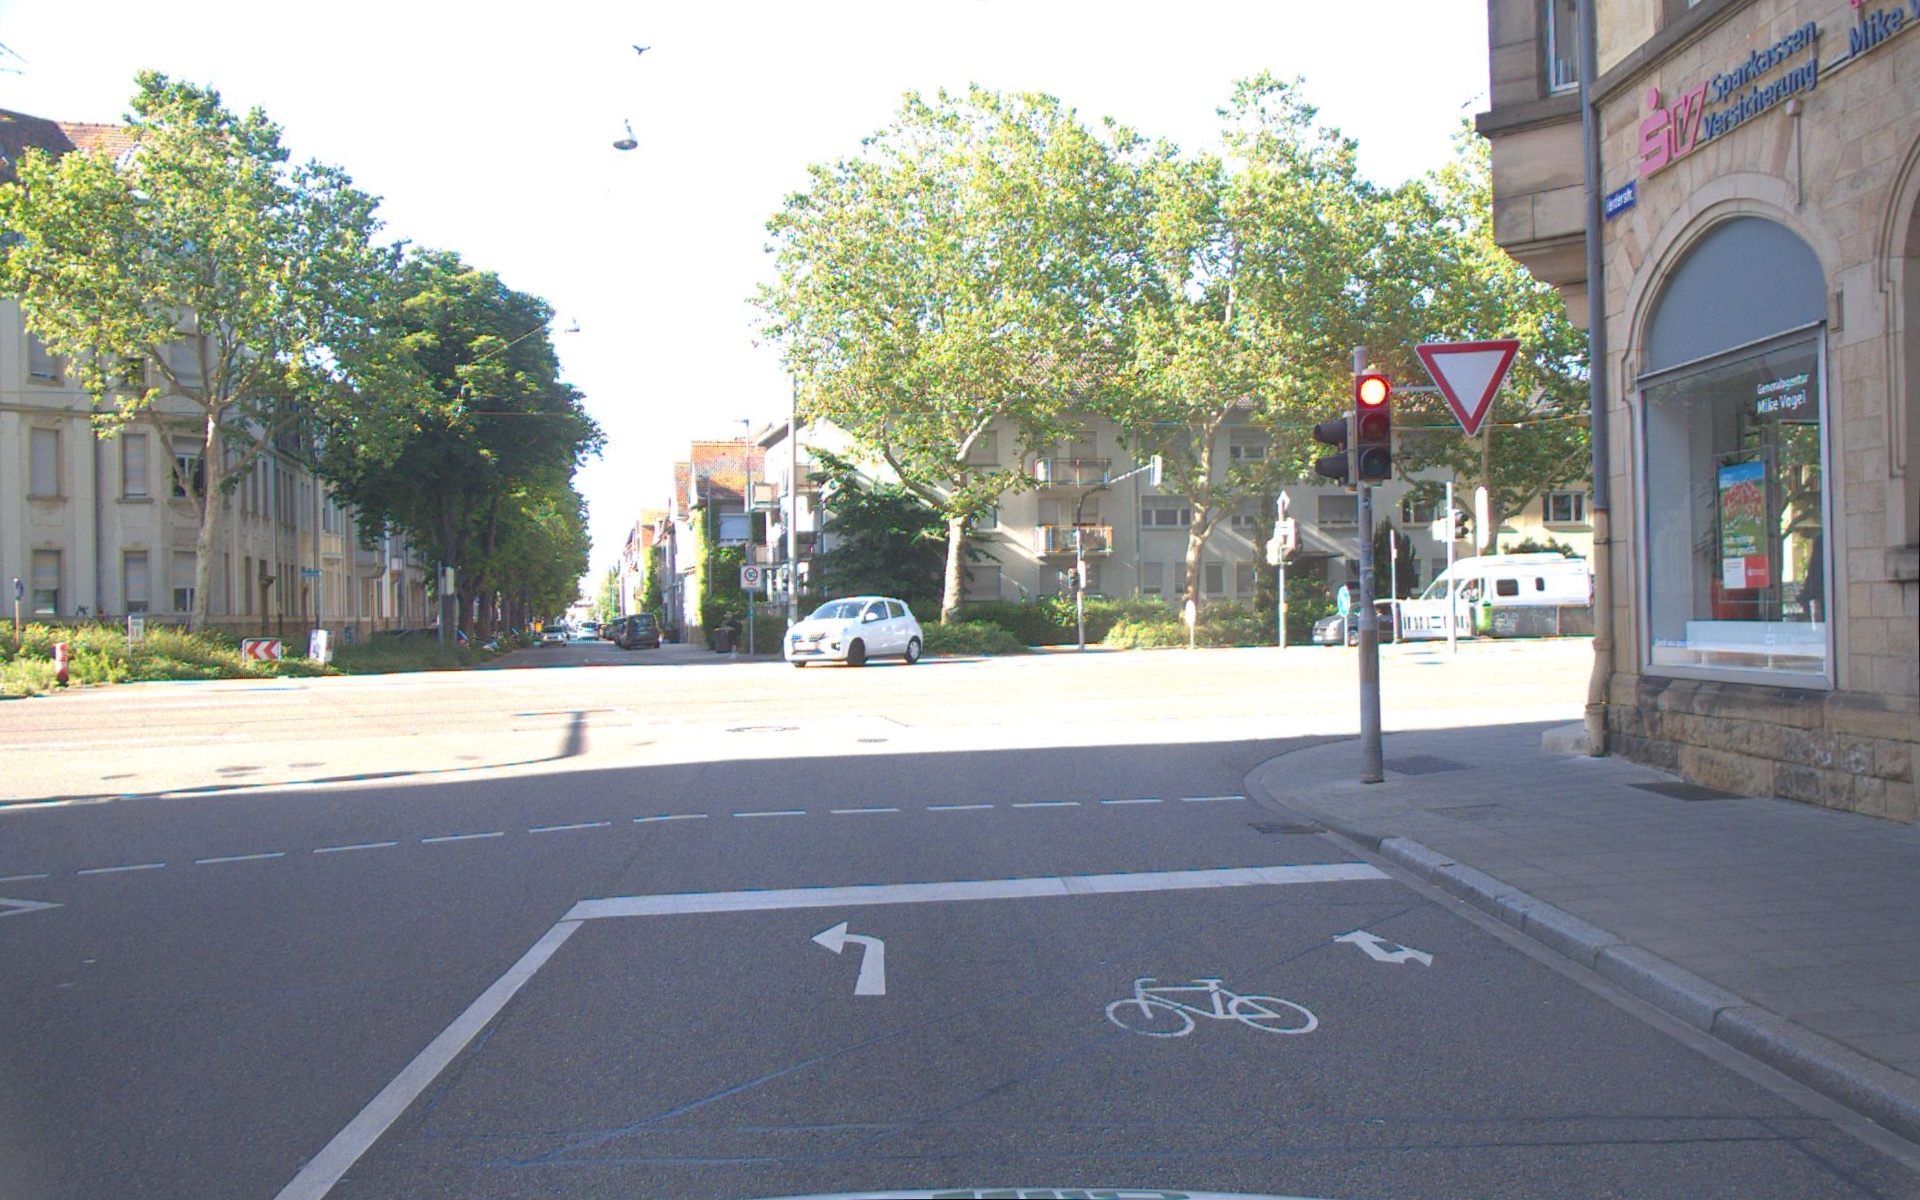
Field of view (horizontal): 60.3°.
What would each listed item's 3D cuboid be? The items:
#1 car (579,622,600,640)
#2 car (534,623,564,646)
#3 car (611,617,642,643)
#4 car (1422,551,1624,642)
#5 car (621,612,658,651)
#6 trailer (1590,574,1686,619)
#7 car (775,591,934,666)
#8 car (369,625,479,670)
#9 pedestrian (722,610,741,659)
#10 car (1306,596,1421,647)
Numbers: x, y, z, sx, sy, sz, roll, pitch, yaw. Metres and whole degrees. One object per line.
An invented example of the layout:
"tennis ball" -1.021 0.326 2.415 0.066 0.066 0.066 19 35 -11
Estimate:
"car" -32.503 2.687 145.009 1.644 1.509 3.512 0 -1 -11
"car" -28.076 2.335 112.944 1.960 1.471 3.984 -2 0 -15
"car" -25.232 2.253 124.896 1.961 1.865 3.982 0 -1 -16
"car" 17.548 -0.143 51.522 5.949 2.613 1.989 -2 0 -19
"car" -18.271 1.773 94.336 1.957 2.049 3.990 -2 0 -10
"trailer" 21.691 -0.119 52.917 2.699 1.334 1.263 -2 0 -20
"car" -2.280 0.605 36.673 1.595 1.498 3.791 -2 0 32
"car" -20.525 1.803 63.336 3.928 1.512 1.672 -2 0 -20
"pedestrian" -8.300 1.251 60.091 0.621 1.780 0.658 0 -1 -5
"car" 12.996 0.686 53.297 3.333 1.513 1.514 -2 0 -23
